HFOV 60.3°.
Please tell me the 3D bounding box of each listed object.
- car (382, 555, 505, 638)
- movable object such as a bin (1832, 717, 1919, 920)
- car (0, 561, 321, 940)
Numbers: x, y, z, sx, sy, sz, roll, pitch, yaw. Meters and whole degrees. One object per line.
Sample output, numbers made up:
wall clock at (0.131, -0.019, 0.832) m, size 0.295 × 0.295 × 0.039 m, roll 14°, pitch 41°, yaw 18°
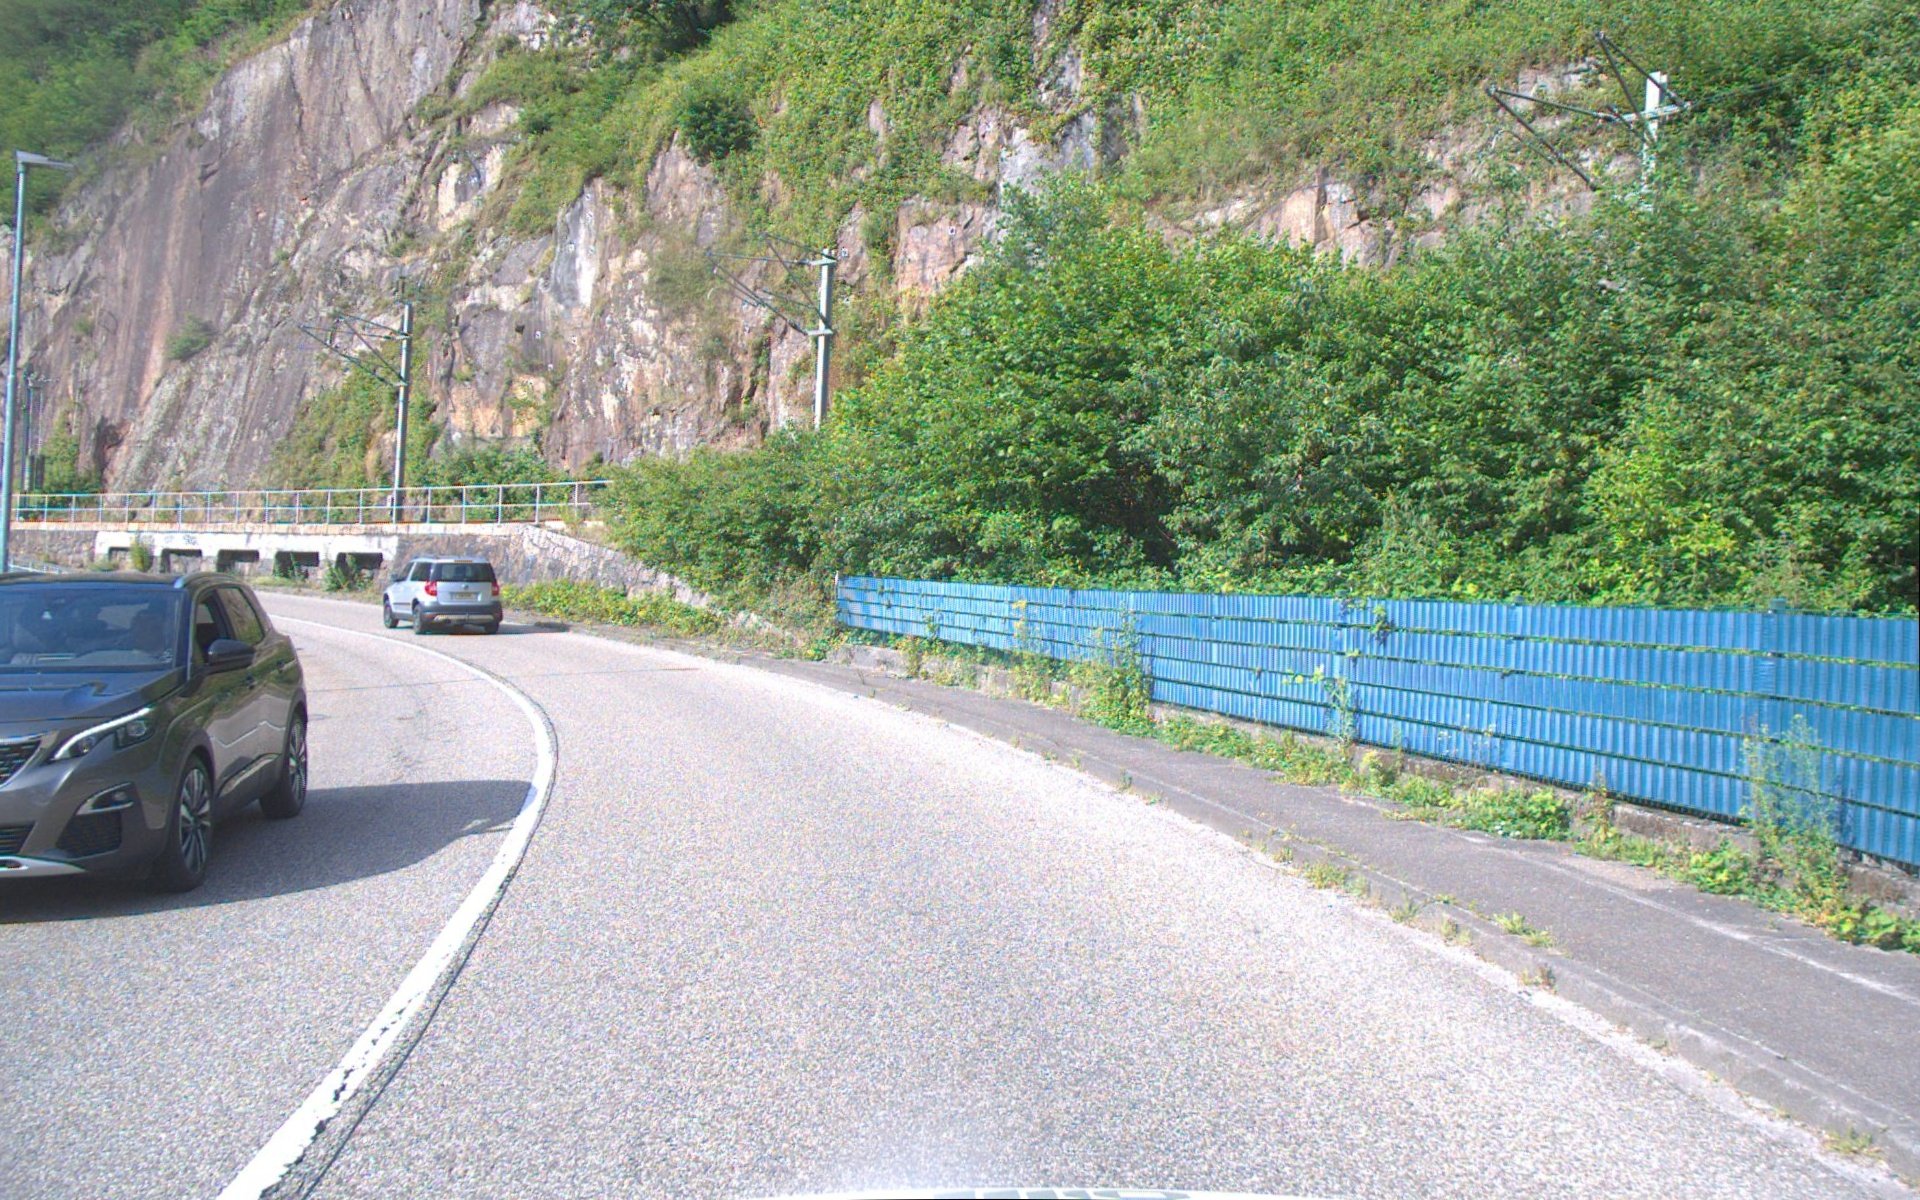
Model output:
car at (-11.368, -0.139, 36.281) m, size 1.852 × 1.684 × 3.963 m, roll -1°, pitch 2°, yaw -28°
movable object such as a bin at (4.778, 1.051, 7.030) m, size 0.837 × 0.862 × 2.539 m, roll 4°, pitch 0°, yaw 2°
car at (-4.922, 0.669, 9.329) m, size 1.784 × 1.671 × 3.988 m, roll -3°, pitch 2°, yaw -12°
